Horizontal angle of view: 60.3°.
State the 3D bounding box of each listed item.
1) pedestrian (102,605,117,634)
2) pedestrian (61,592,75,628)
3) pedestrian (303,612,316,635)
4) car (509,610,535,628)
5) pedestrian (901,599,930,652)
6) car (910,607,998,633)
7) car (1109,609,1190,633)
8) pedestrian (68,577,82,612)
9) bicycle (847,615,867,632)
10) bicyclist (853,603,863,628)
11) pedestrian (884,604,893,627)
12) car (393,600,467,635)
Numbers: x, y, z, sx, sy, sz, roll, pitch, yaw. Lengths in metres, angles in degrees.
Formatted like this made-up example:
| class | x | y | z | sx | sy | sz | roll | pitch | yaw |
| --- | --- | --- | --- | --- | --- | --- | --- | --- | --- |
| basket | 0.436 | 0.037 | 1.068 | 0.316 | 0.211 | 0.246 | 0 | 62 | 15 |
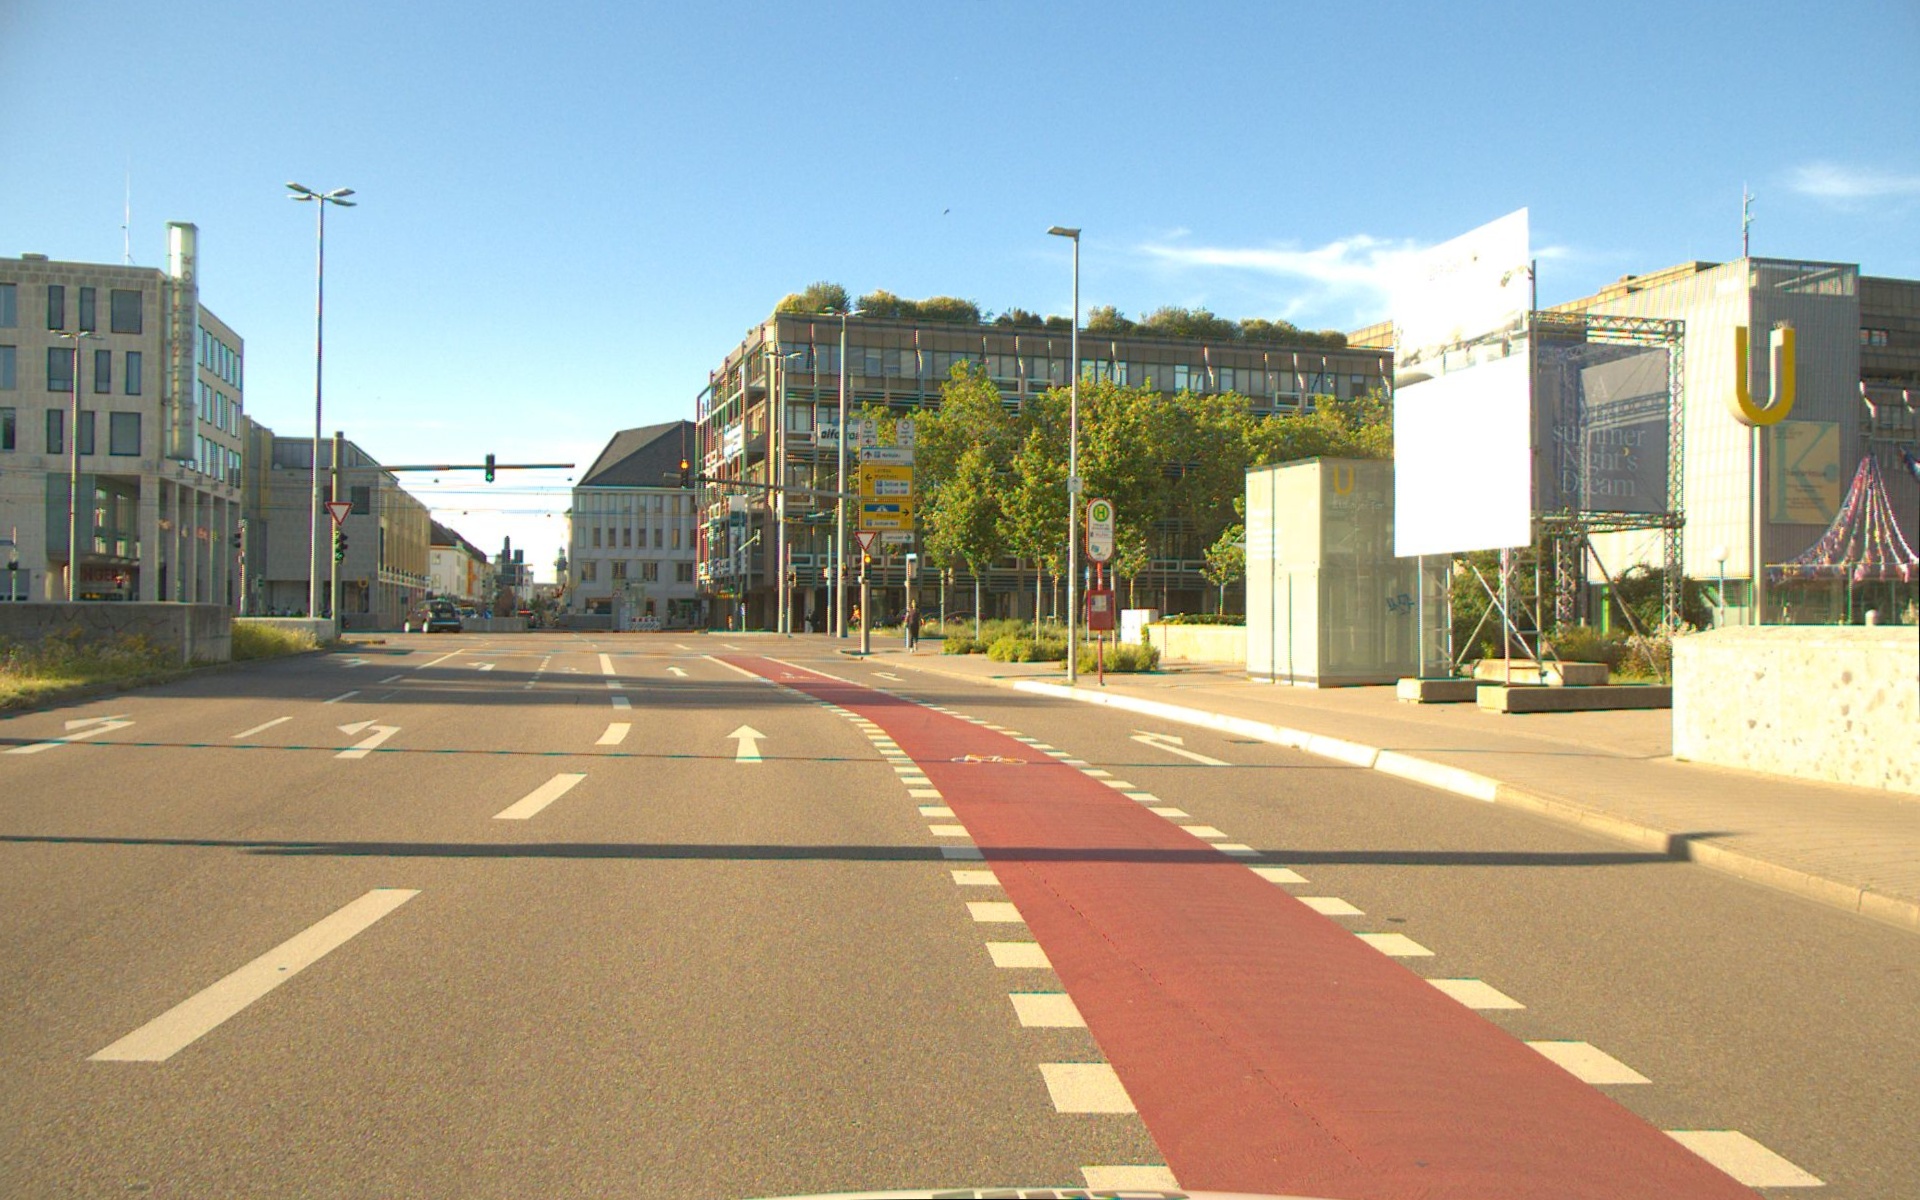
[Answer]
| class | x | y | z | sx | sy | sz | roll | pitch | yaw |
| --- | --- | --- | --- | --- | --- | --- | --- | --- | --- |
| pedestrian | -48.628 | 1.091 | 94.533 | 0.612 | 1.636 | 0.651 | 0 | 0 | -14 |
| pedestrian | -51.087 | 0.583 | 94.699 | 0.614 | 2.049 | 0.513 | 0 | 0 | -21 |
| pedestrian | -46.475 | 1.706 | 118.193 | 0.737 | 1.636 | 0.616 | 1 | -1 | -40 |
| car | -39.211 | 1.697 | 147.919 | 1.963 | 1.579 | 3.978 | 0 | 0 | -19 |
| pedestrian | -1.517 | 0.868 | 56.560 | 0.804 | 1.779 | 1.042 | -1 | -1 | 9 |
| car | -0.339 | 1.119 | 93.102 | 4.556 | 1.380 | 1.991 | 1 | 1 | -17 |
| car | 11.638 | 1.288 | 101.500 | 4.556 | 1.380 | 1.991 | 1 | 1 | -17 |
| pedestrian | -50.828 | -0.311 | 94.956 | 0.614 | 2.049 | 0.513 | 0 | 0 | -21 |
| bicycle | -5.787 | 1.316 | 92.828 | 1.057 | 0.988 | 0.457 | 0 | 0 | -11 |
| bicyclist | -5.735 | 0.871 | 92.847 | 0.499 | 1.362 | 0.451 | 0 | 0 | -10 |
| pedestrian | -4.843 | 1.020 | 111.851 | 0.610 | 1.545 | 0.653 | 0 | 0 | -4 |
| car | -24.718 | 0.785 | 77.125 | 3.725 | 1.591 | 1.769 | 0 | 0 | 44 |
